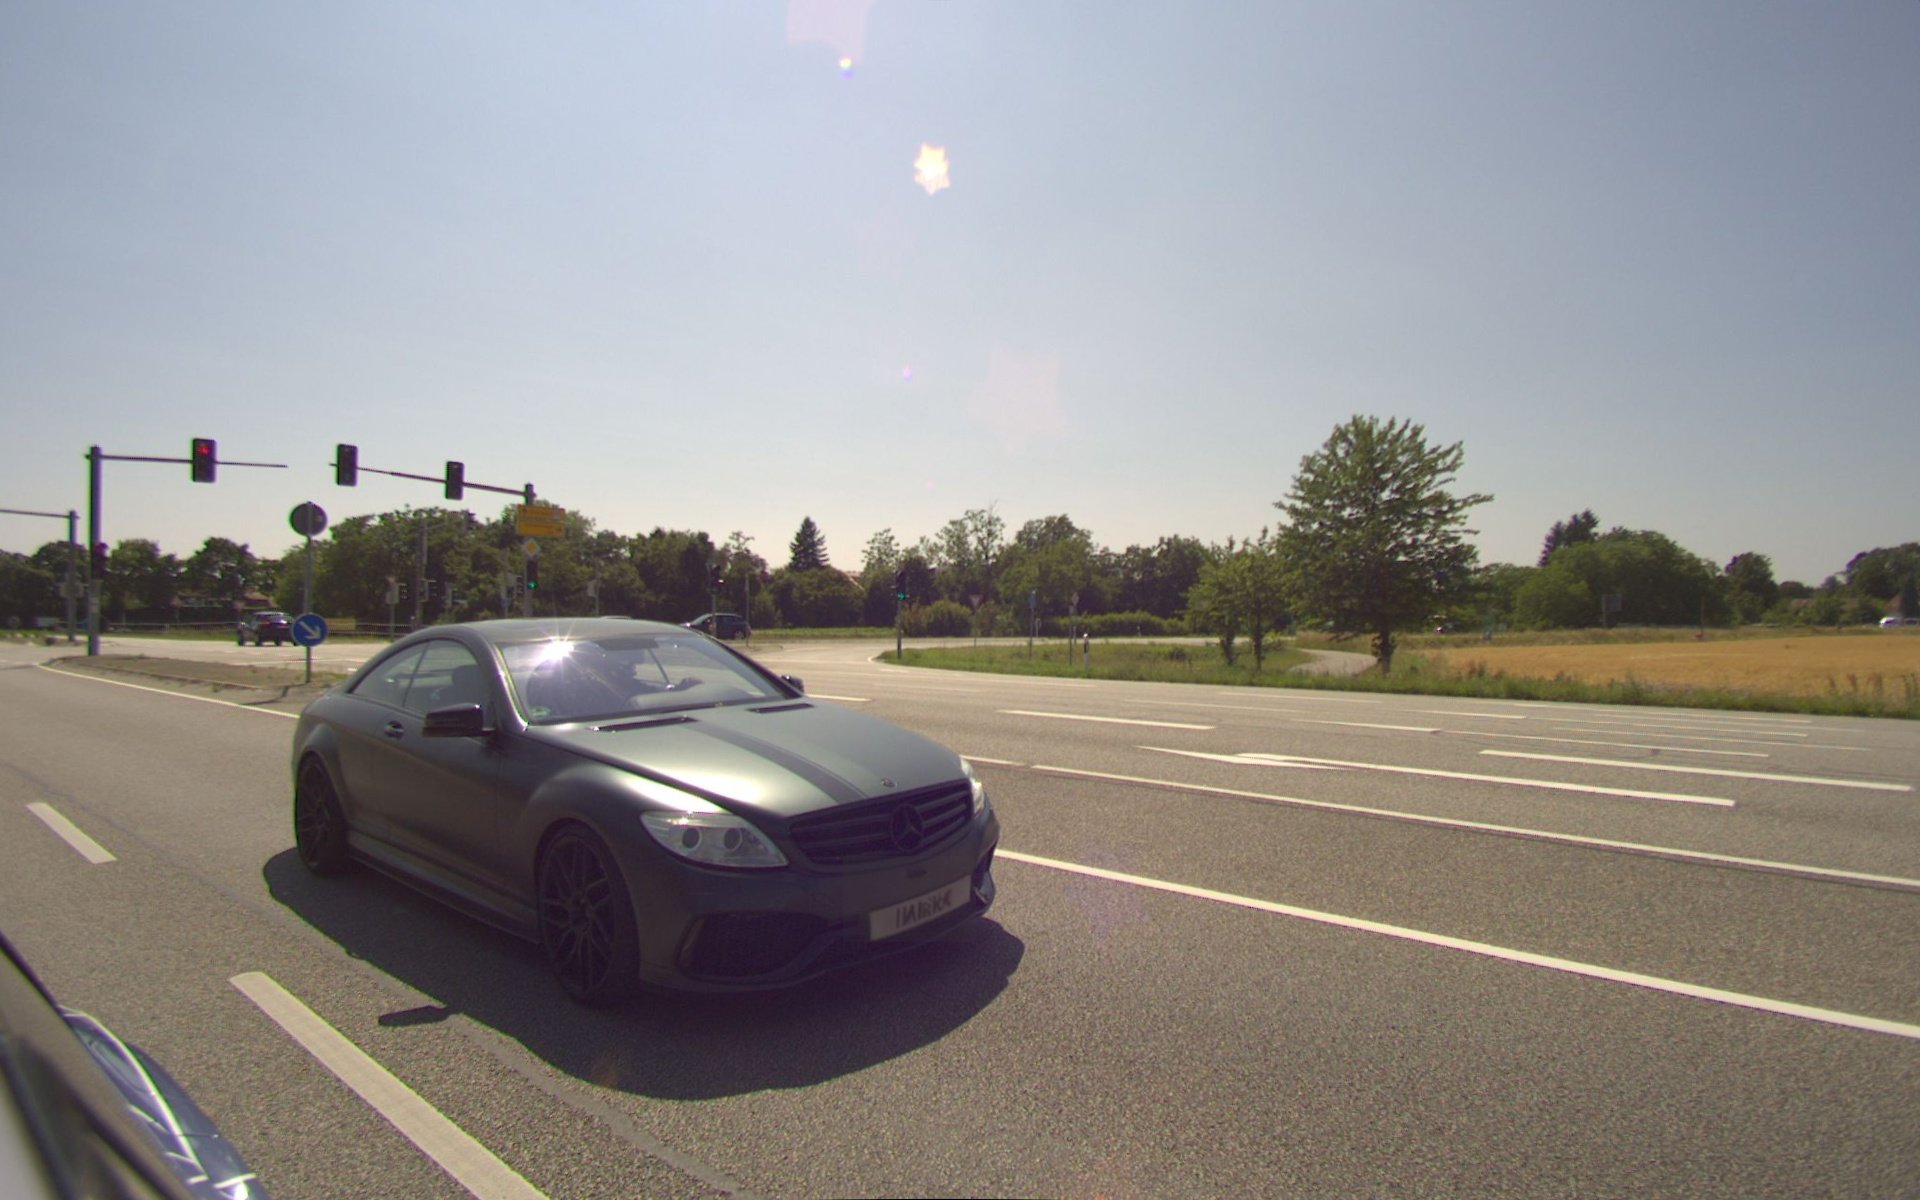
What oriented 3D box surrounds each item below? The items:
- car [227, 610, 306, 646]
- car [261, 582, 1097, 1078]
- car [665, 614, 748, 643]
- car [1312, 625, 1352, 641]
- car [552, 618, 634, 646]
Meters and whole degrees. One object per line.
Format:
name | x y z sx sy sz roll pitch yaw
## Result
car | -32.518 1.295 47.404 4.299 1.612 1.813 0 -1 38
car | -1.842 0.704 5.276 4.874 1.461 1.792 -1 0 41
car | -14.416 1.633 57.577 4.295 1.606 1.639 1 -2 -33
car | 33.827 2.970 91.978 3.711 1.397 1.504 1 -2 -33
car | -19.529 1.677 53.937 3.816 1.397 1.639 0 -1 -35
